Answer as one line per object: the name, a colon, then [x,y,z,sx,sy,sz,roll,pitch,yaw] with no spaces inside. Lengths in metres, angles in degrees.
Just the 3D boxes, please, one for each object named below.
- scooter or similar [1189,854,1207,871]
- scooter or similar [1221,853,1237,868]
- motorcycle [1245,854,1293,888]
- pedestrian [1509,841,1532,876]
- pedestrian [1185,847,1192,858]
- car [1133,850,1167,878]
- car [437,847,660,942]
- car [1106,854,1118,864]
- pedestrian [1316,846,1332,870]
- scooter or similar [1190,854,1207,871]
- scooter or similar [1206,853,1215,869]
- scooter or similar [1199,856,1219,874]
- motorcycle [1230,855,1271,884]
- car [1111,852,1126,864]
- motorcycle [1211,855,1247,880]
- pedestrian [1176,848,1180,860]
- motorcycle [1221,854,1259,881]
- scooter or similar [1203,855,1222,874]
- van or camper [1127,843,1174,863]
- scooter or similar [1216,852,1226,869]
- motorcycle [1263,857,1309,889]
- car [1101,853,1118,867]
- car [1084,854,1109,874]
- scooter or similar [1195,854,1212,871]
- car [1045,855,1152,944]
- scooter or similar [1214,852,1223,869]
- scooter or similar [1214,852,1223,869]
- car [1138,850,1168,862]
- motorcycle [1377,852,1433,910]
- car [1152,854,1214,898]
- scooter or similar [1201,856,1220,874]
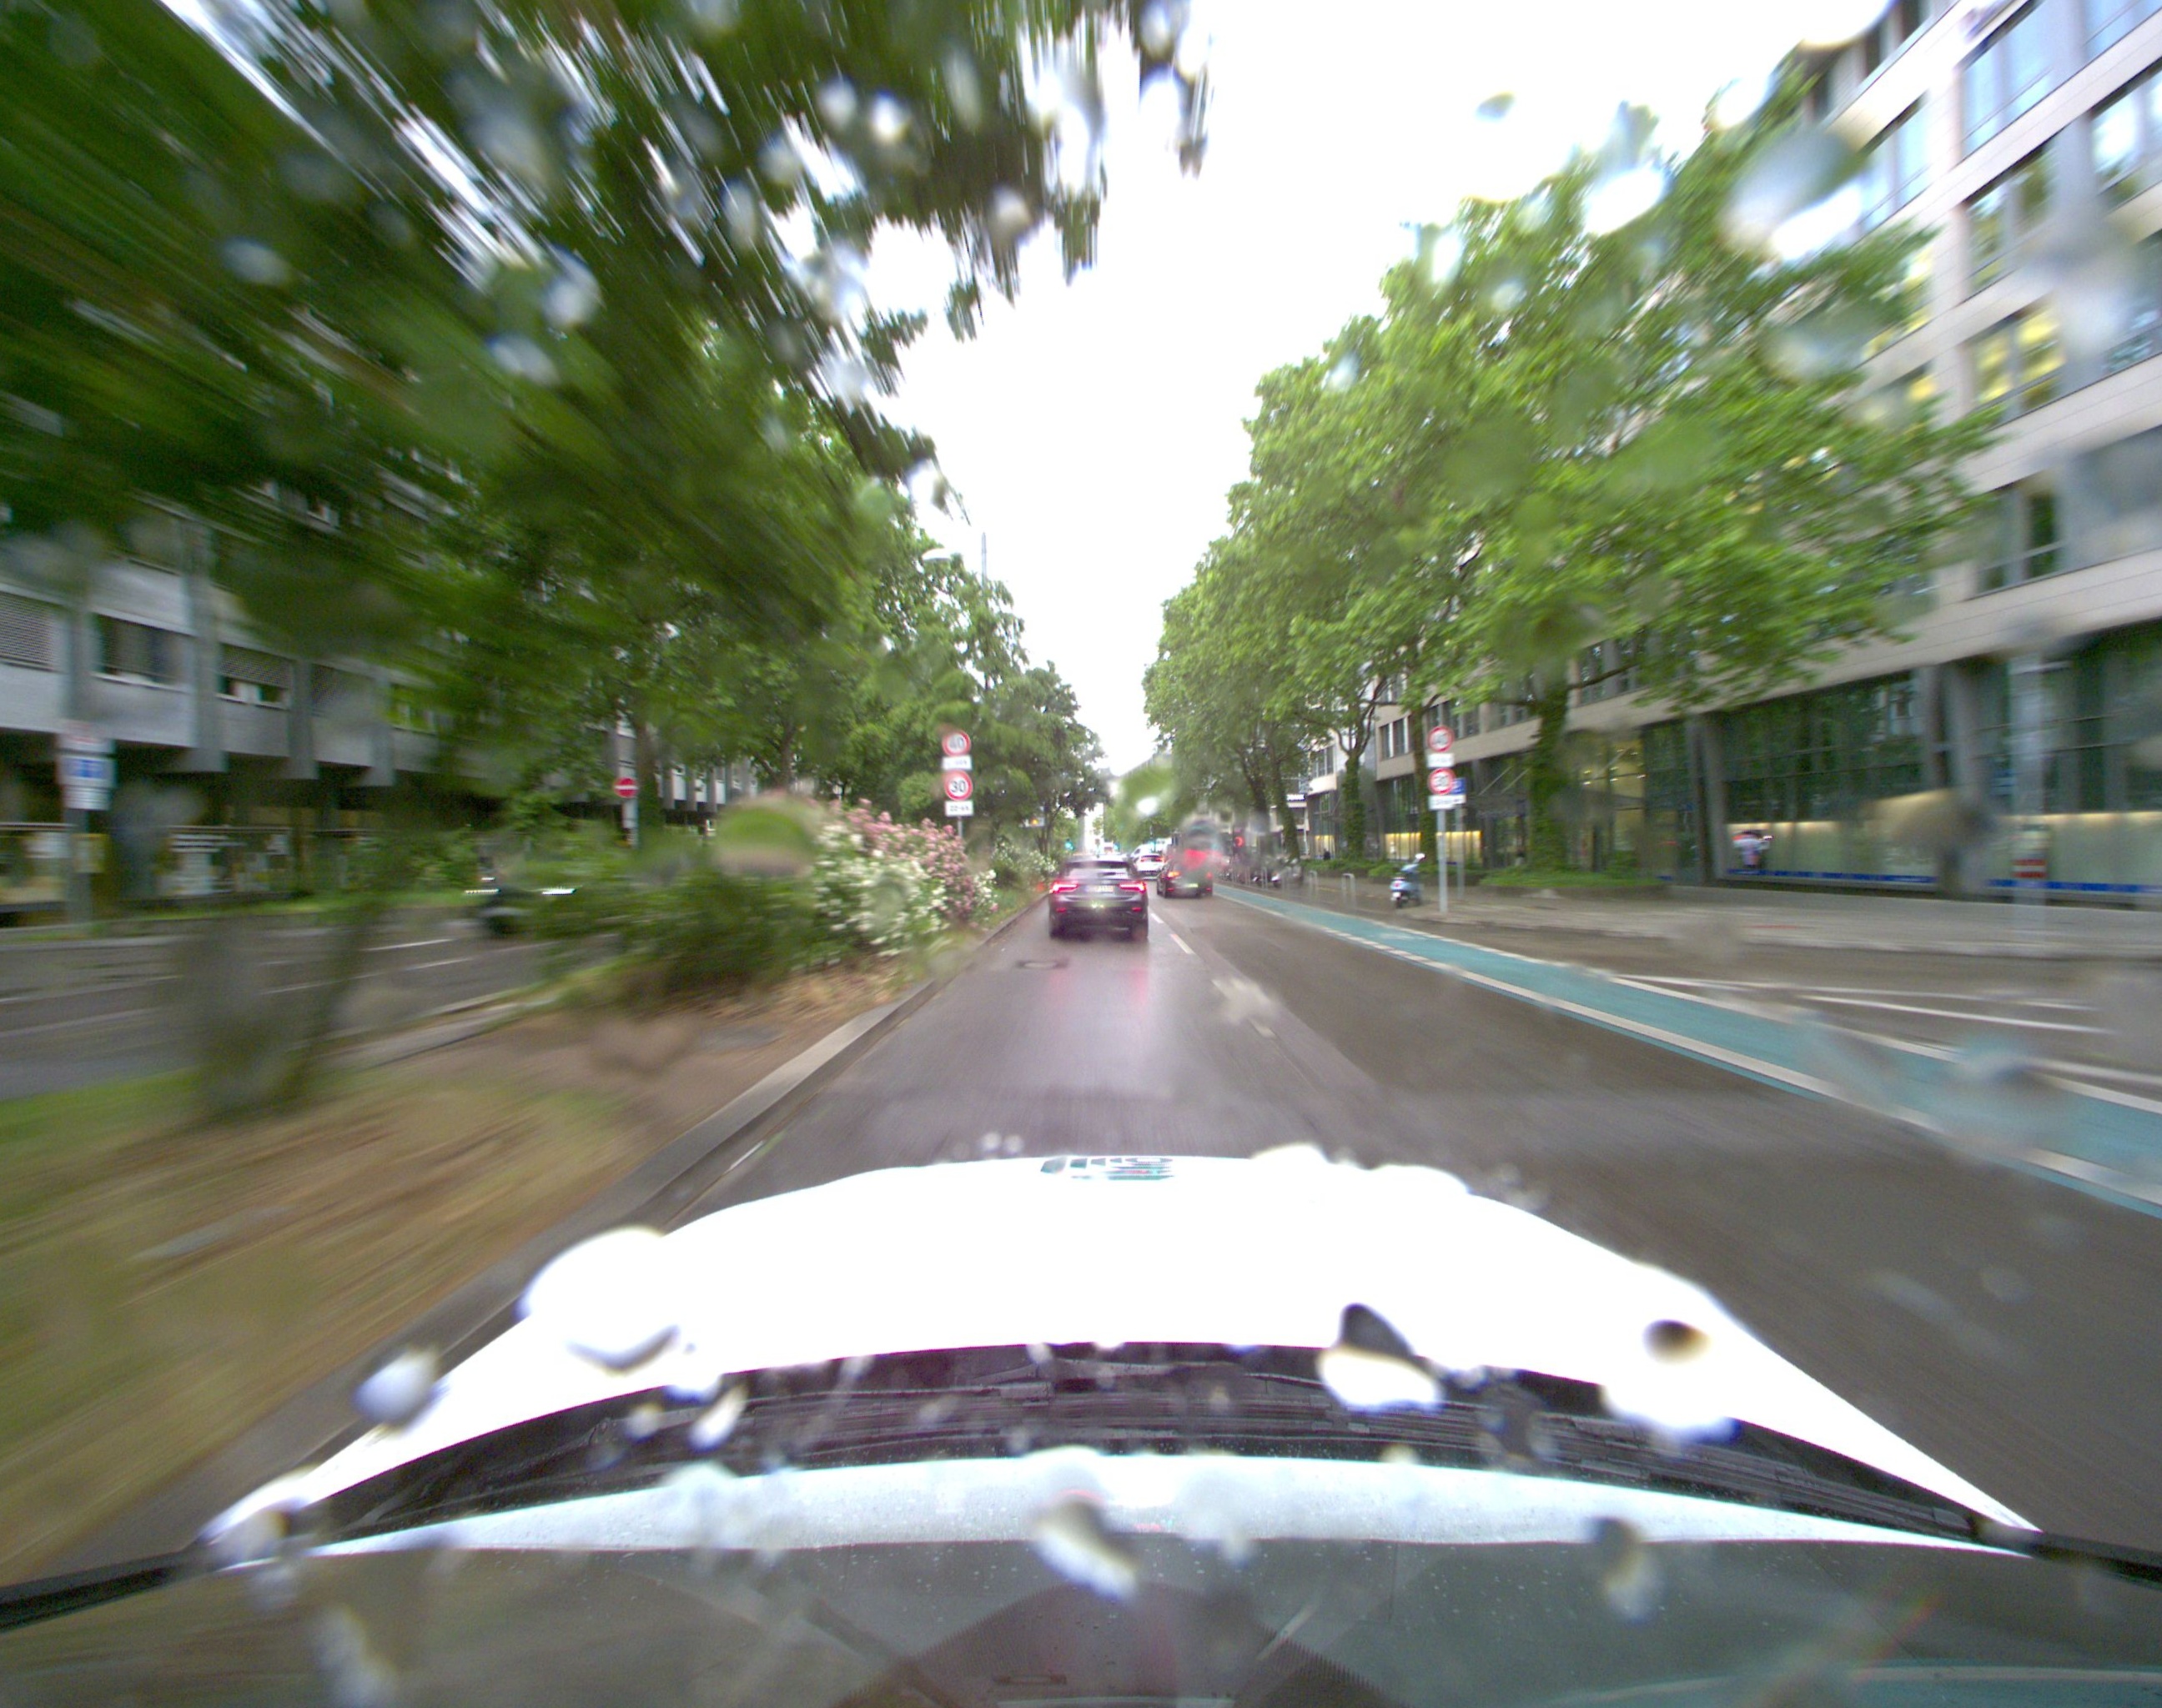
scooter or similar: [9.378,0.675,65.203,1.280,1.259,0.491,-2,1,12]
scooter or similar: [12.067,0.542,66.450,0.490,1.198,1.281,-1,-1,-30]
motorcycle: [8.669,0.761,37.482,2.061,1.428,0.724,-3,1,-21]
pedestrian: [21.718,0.219,40.245,0.720,1.693,0.833,-2,0,43]
pedestrian: [16.487,-0.180,124.737,0.803,1.696,1.186,-1,0,-2]
car: [4.303,0.624,51.114,1.843,1.669,4.039,-1,0,1]
car: [-10.375,0.717,16.290,1.716,1.638,4.016,-1,0,2]
car: [4.929,0.804,130.786,1.843,1.523,4.039,-1,0,1]
pedestrian: [19.140,0.295,64.183,0.913,1.850,1.277,-1,-1,2]
scooter or similar: [9.465,0.682,65.814,1.280,1.259,0.491,-2,1,12]
scooter or similar: [10.486,0.557,65.828,0.486,1.259,1.294,-3,1,1]
scooter or similar: [9.262,0.786,58.951,1.289,1.278,0.535,-3,1,-10]
motorcycle: [8.706,0.771,41.876,1.962,1.373,0.724,-3,1,-21]
car: [4.997,0.548,108.985,1.843,1.523,4.039,-1,0,1]
motorcycle: [8.823,0.794,48.582,1.959,1.373,0.725,-3,1,-16]
pedestrian: [15.575,0.019,130.499,0.551,1.805,0.761,0,-1,-2]
motorcycle: [8.850,0.751,45.307,1.962,1.373,0.724,-3,1,-21]
scooter or similar: [9.332,0.771,57.822,1.283,1.278,0.538,-3,1,4]
van or camper: [9.499,-0.181,111.919,6.009,2.558,2.117,-1,0,27]
scooter or similar: [11.026,0.530,64.120,0.486,1.259,1.294,-3,1,1]
motorcycle: [8.866,0.814,35.128,2.069,1.213,0.677,-4,-1,-35]
car: [3.111,0.642,90.293,1.843,1.523,4.039,-1,0,1]
car: [1.216,0.763,63.545,1.843,1.523,4.039,-1,0,1]
scooter or similar: [9.742,0.664,64.667,1.280,1.259,0.491,-2,1,12]
car: [0.308,0.792,16.203,1.843,1.523,4.038,-1,0,0]
scooter or similar: [10.627,0.518,62.891,0.486,1.259,1.294,-3,1,1]
scooter or similar: [10.627,0.518,62.891,0.486,1.259,1.294,-3,1,1]
car: [9.379,0.275,105.798,3.618,1.547,1.723,-1,0,19]
motorcycle: [8.642,0.698,21.708,0.676,1.367,1.958,-5,-1,41]
car: [3.768,0.783,30.696,1.843,1.523,4.039,-1,0,1]
scooter or similar: [9.723,0.810,61.086,1.284,1.235,0.489,-3,1,2]
